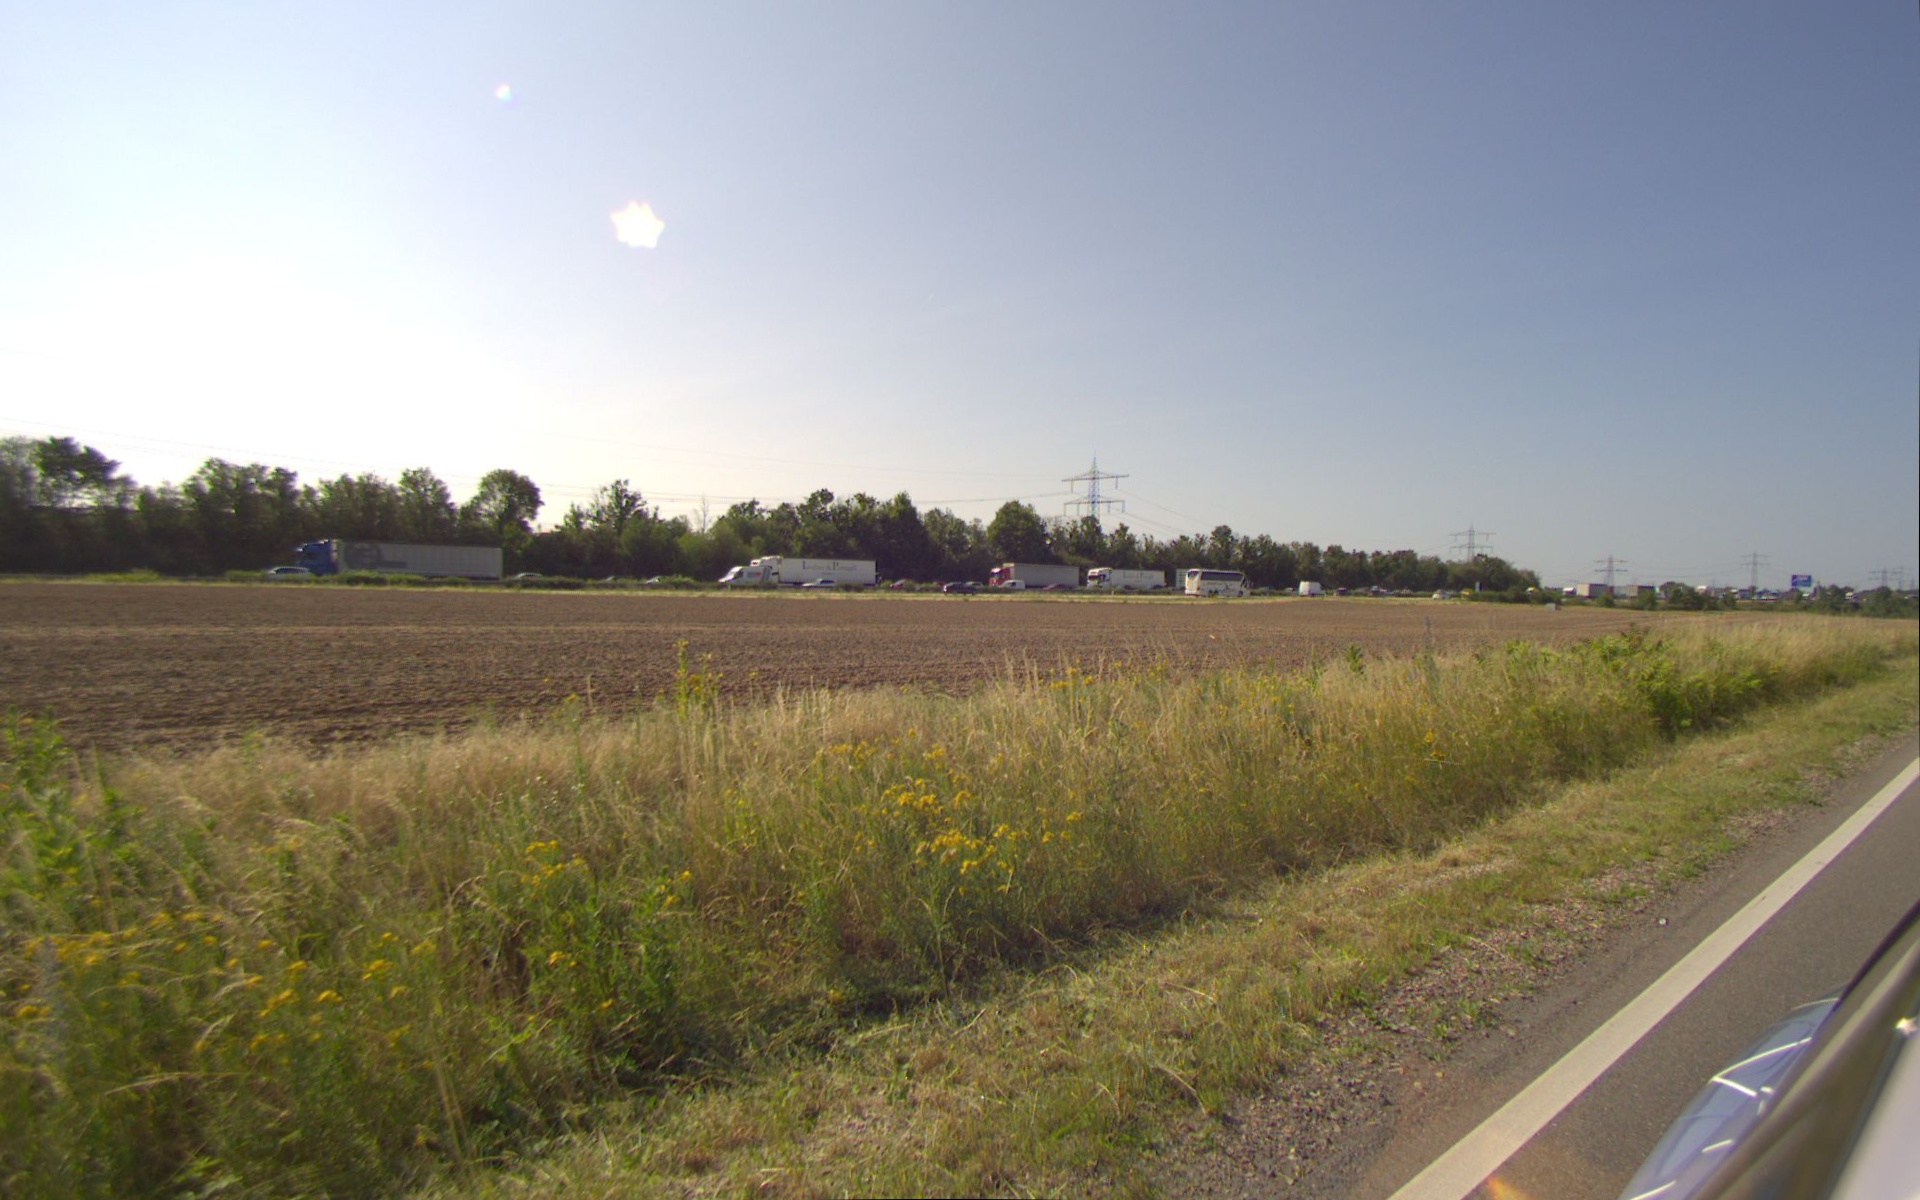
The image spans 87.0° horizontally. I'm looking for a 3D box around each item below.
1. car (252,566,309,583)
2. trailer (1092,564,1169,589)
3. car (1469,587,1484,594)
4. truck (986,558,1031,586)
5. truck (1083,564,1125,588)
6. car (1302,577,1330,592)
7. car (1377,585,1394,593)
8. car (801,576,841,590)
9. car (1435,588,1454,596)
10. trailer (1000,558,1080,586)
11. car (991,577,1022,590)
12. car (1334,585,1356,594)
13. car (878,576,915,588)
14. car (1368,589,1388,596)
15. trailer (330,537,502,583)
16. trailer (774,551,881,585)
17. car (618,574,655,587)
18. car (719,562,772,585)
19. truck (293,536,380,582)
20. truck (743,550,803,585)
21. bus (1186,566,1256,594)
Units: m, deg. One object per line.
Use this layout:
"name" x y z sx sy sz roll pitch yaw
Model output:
"car" -52.727 -1.979 78.518 3.519 1.166 1.397 1 0 -41
"trailer" 26.878 -3.658 158.762 14.823 3.575 3.208 0 2 -42
"car" 115.833 -2.076 226.893 4.023 1.528 1.705 0 0 -41
"truck" 6.755 -3.928 141.093 5.767 3.780 2.950 0 1 -41
"truck" 21.968 -3.668 154.361 6.003 3.575 3.208 0 2 -42
"car" 59.242 -2.574 168.524 5.426 2.402 1.996 0 -1 -42
"car" 88.683 -2.282 211.027 4.023 1.528 1.705 0 0 -41
"car" -15.622 -1.915 113.809 4.174 1.403 1.853 1 0 -42
"car" 91.094 -1.497 190.206 4.124 1.563 1.705 0 0 -41
"trailer" 11.627 -3.921 145.435 13.543 3.780 2.950 0 1 -42
"car" 6.077 -2.100 132.142 4.024 1.659 1.705 0 0 -42
"car" 63.437 -1.741 166.830 4.136 1.492 1.706 0 0 -41
"car" -7.560 -2.138 120.943 4.174 1.403 1.853 1 0 -42
"car" 75.476 -1.358 182.863 4.022 1.391 1.706 0 0 -41
"trailer" -49.093 -3.484 91.791 13.388 3.780 3.078 0 1 -40
"trailer" -15.706 -3.736 120.855 13.130 3.780 3.078 0 1 -41
"car" -31.231 -1.909 97.758 3.126 1.166 1.396 1 -1 -42
"car" -22.524 -2.724 106.419 5.147 2.228 1.908 1 -1 -42
"truck" -53.983 -3.481 87.664 5.979 3.780 3.078 0 1 -40
"truck" -21.380 -3.696 116.001 6.009 3.780 3.078 0 1 -40
"bus" 38.543 -2.916 149.035 14.298 3.851 2.466 1 1 -42
